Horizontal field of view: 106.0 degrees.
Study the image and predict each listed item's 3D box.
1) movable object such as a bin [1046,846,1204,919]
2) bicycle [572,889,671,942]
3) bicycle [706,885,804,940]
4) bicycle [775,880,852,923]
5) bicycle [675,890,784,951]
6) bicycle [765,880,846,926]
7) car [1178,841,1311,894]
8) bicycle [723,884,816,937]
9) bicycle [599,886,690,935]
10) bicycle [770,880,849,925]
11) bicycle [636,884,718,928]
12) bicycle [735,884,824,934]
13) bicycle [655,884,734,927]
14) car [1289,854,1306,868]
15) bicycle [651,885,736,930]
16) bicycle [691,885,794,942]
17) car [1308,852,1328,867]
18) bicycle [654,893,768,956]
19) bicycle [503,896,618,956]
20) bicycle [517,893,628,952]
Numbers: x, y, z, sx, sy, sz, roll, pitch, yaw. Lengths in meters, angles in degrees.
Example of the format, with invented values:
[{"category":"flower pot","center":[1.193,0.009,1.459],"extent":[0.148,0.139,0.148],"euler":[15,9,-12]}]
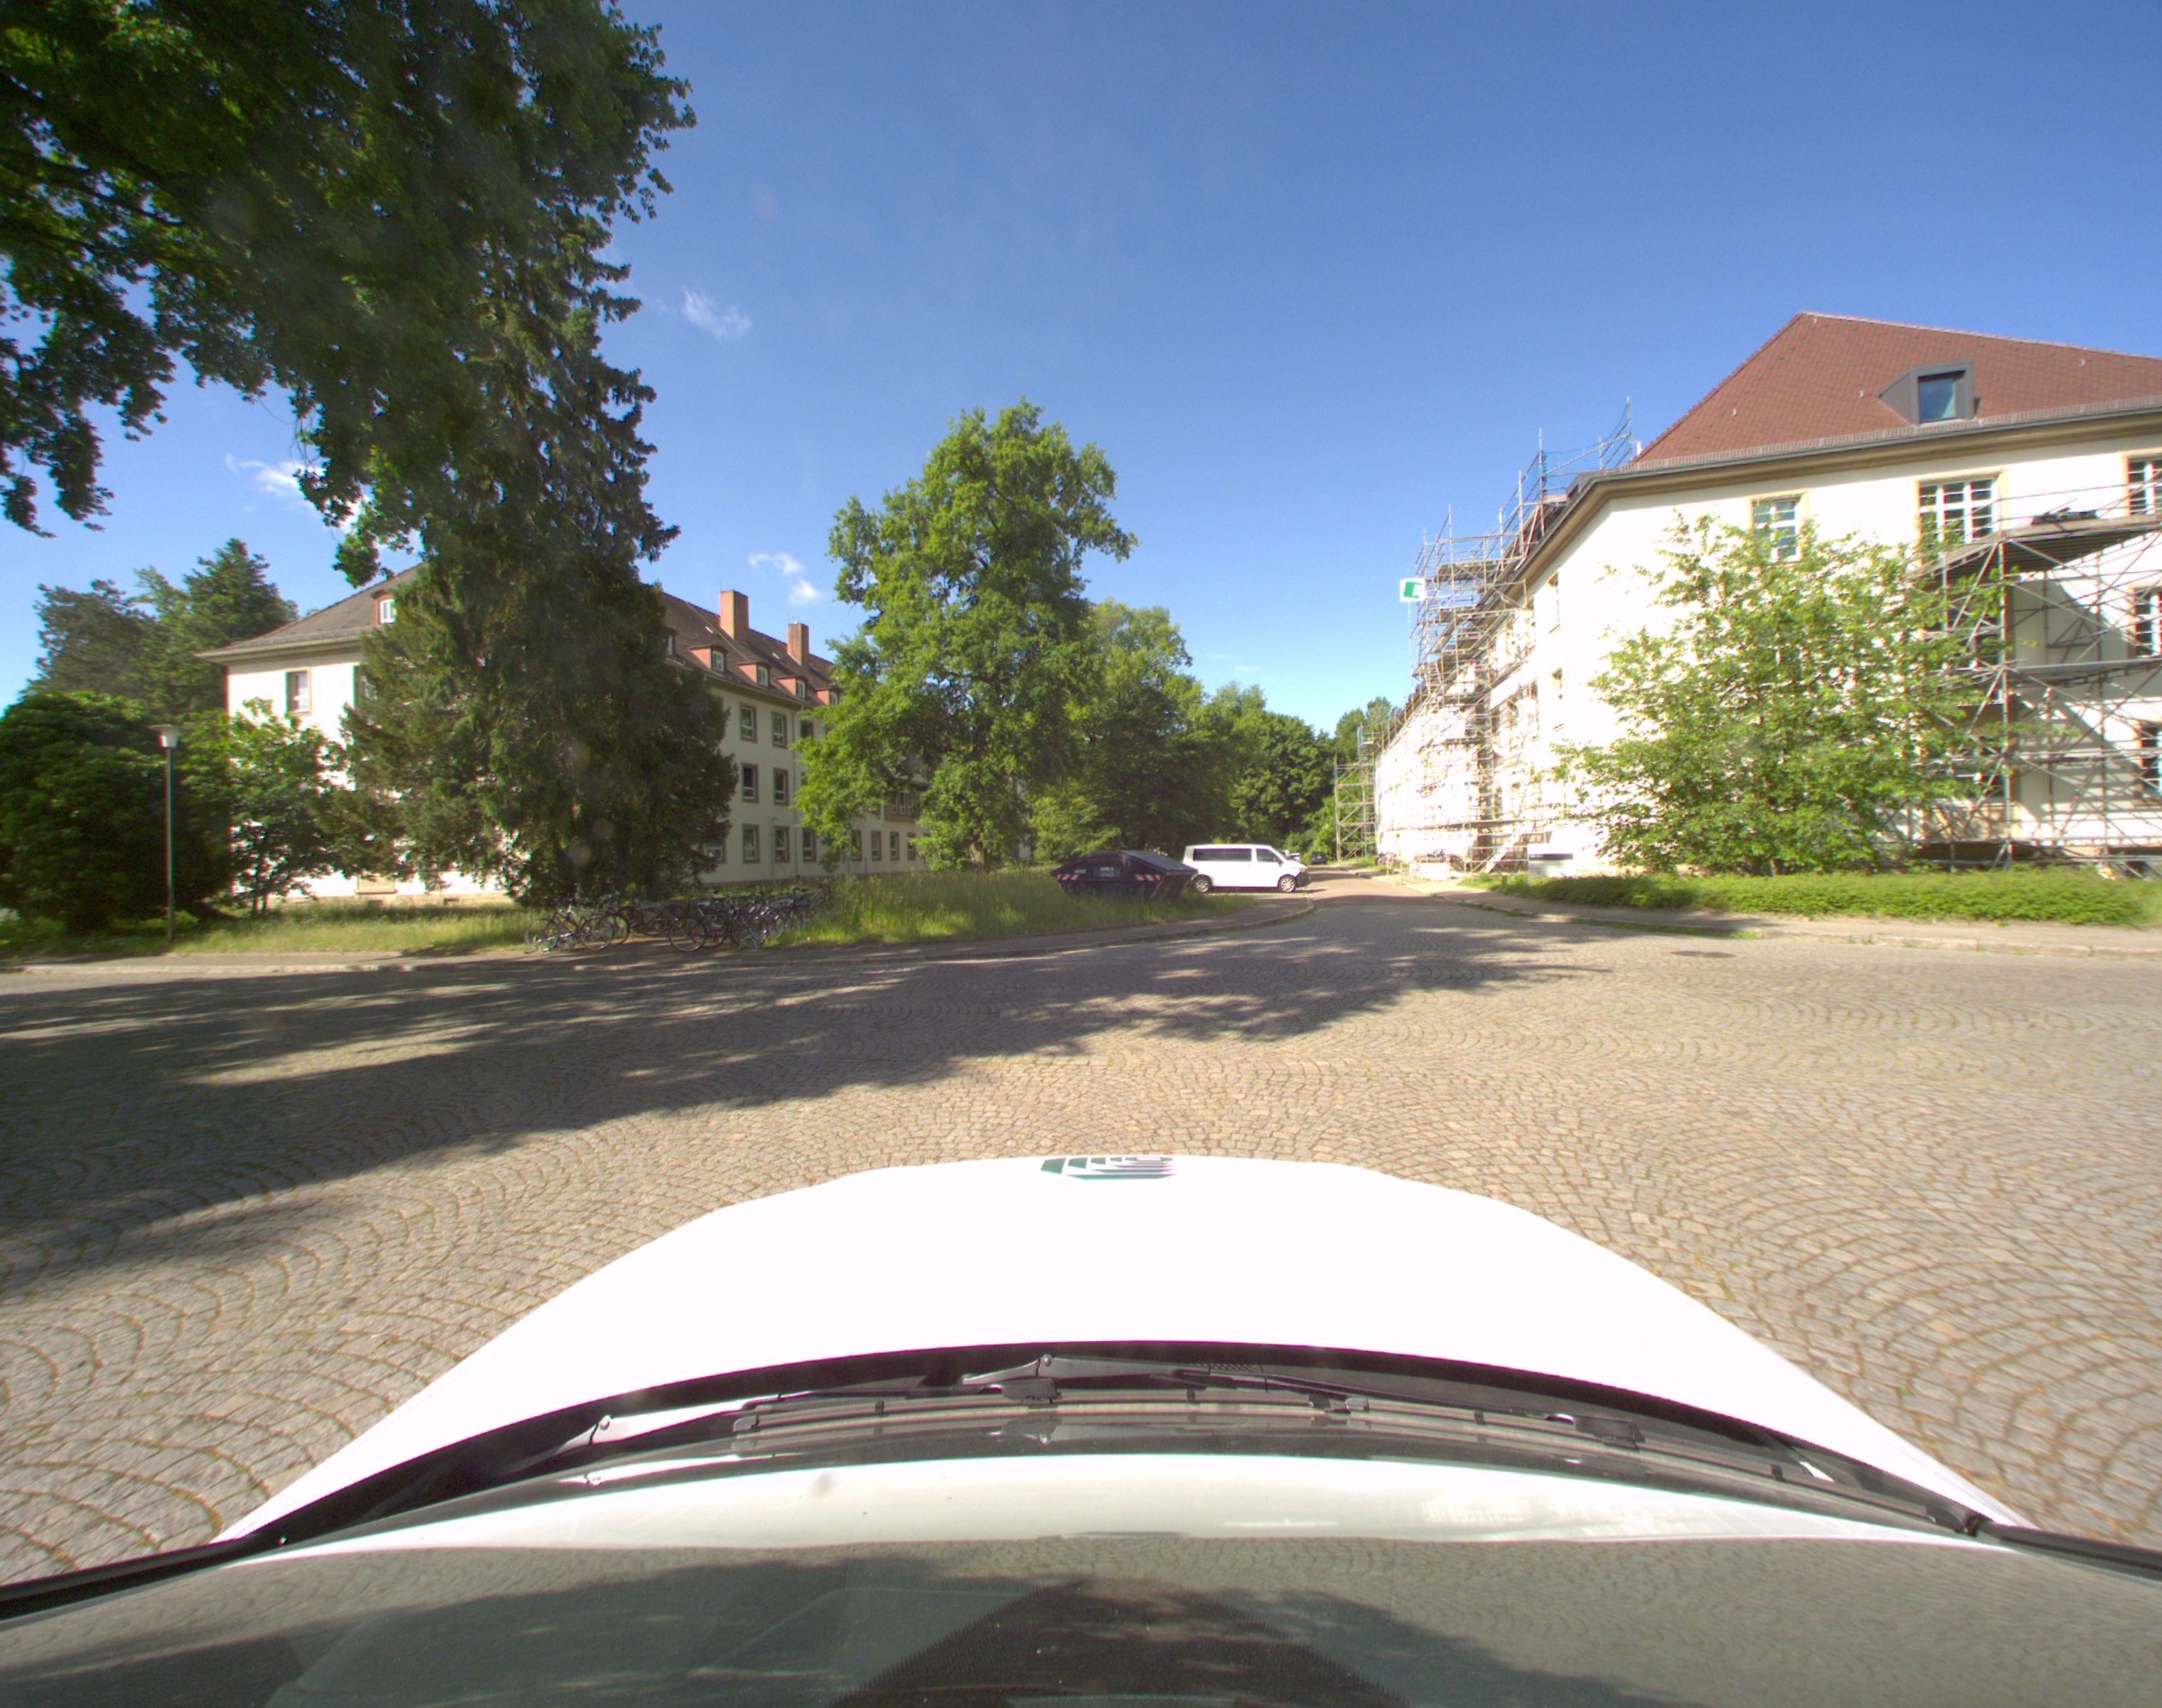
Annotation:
[{"category":"movable object such as a bin","center":[1.145,0.746,21.468],"extent":[3.531,1.745,2.038],"euler":[-3,-1,33]},{"category":"bicycle","center":[-10.855,1.442,19.283],"extent":[1.916,1.103,0.568],"euler":[-2,1,-14]},{"category":"bicycle","center":[-7.234,1.298,18.122],"extent":[1.912,1.058,0.474],"euler":[-4,-1,-9]},{"category":"bicycle","center":[-7.406,1.309,22.580],"extent":[1.911,1.058,0.475],"euler":[-4,-1,-7]},{"category":"bicycle","center":[-7.088,1.328,16.479],"extent":[1.916,1.058,0.473],"euler":[-4,-1,-15]},{"category":"bicycle","center":[-7.297,1.295,21.618],"extent":[1.911,1.058,0.475],"euler":[-4,-1,-7]},{"category":"car","center":[6.744,0.552,33.630],"extent":[5.197,2.016,1.957],"euler":[-2,-1,13]},{"category":"bicycle","center":[-7.217,1.294,18.934],"extent":[1.912,1.058,0.474],"euler":[-4,-1,-9]},{"category":"bicycle","center":[-11.046,1.424,20.673],"extent":[1.916,1.103,0.568],"euler":[-2,1,-14]},{"category":"bicycle","center":[-7.358,1.303,22.115],"extent":[1.911,1.058,0.475],"euler":[-4,-1,-7]},{"category":"bicycle","center":[-11.067,1.416,22.332],"extent":[1.910,1.103,0.569],"euler":[-1,1,-5]},{"category":"bicycle","center":[-7.312,1.335,19.797],"extent":[1.911,1.058,0.475],"euler":[-4,-1,-7]},{"category":"bicycle","center":[-11.034,1.456,23.302],"extent":[1.913,1.103,0.568],"euler":[-2,1,-10]},{"category":"car","center":[25.793,0.829,97.181],"extent":[1.799,1.579,4.150],"euler":[-2,-1,14]},{"category":"bicycle","center":[-10.259,1.406,21.601],"extent":[1.910,1.103,0.569],"euler":[-1,1,-5]},{"category":"bicycle","center":[-7.269,1.277,17.548],"extent":[1.912,1.058,0.474],"euler":[-4,-1,-9]},{"category":"car","center":[28.183,0.690,96.905],"extent":[1.957,1.668,4.101],"euler":[-2,-1,14]},{"category":"bicycle","center":[-7.210,1.359,15.935],"extent":[1.916,1.058,0.473],"euler":[-4,-1,-15]},{"category":"bicycle","center":[-10.869,1.485,17.058],"extent":[1.913,1.103,0.568],"euler":[-2,1,-11]},{"category":"bicycle","center":[-10.955,1.463,17.591],"extent":[1.913,1.103,0.568],"euler":[-2,1,-11]}]
